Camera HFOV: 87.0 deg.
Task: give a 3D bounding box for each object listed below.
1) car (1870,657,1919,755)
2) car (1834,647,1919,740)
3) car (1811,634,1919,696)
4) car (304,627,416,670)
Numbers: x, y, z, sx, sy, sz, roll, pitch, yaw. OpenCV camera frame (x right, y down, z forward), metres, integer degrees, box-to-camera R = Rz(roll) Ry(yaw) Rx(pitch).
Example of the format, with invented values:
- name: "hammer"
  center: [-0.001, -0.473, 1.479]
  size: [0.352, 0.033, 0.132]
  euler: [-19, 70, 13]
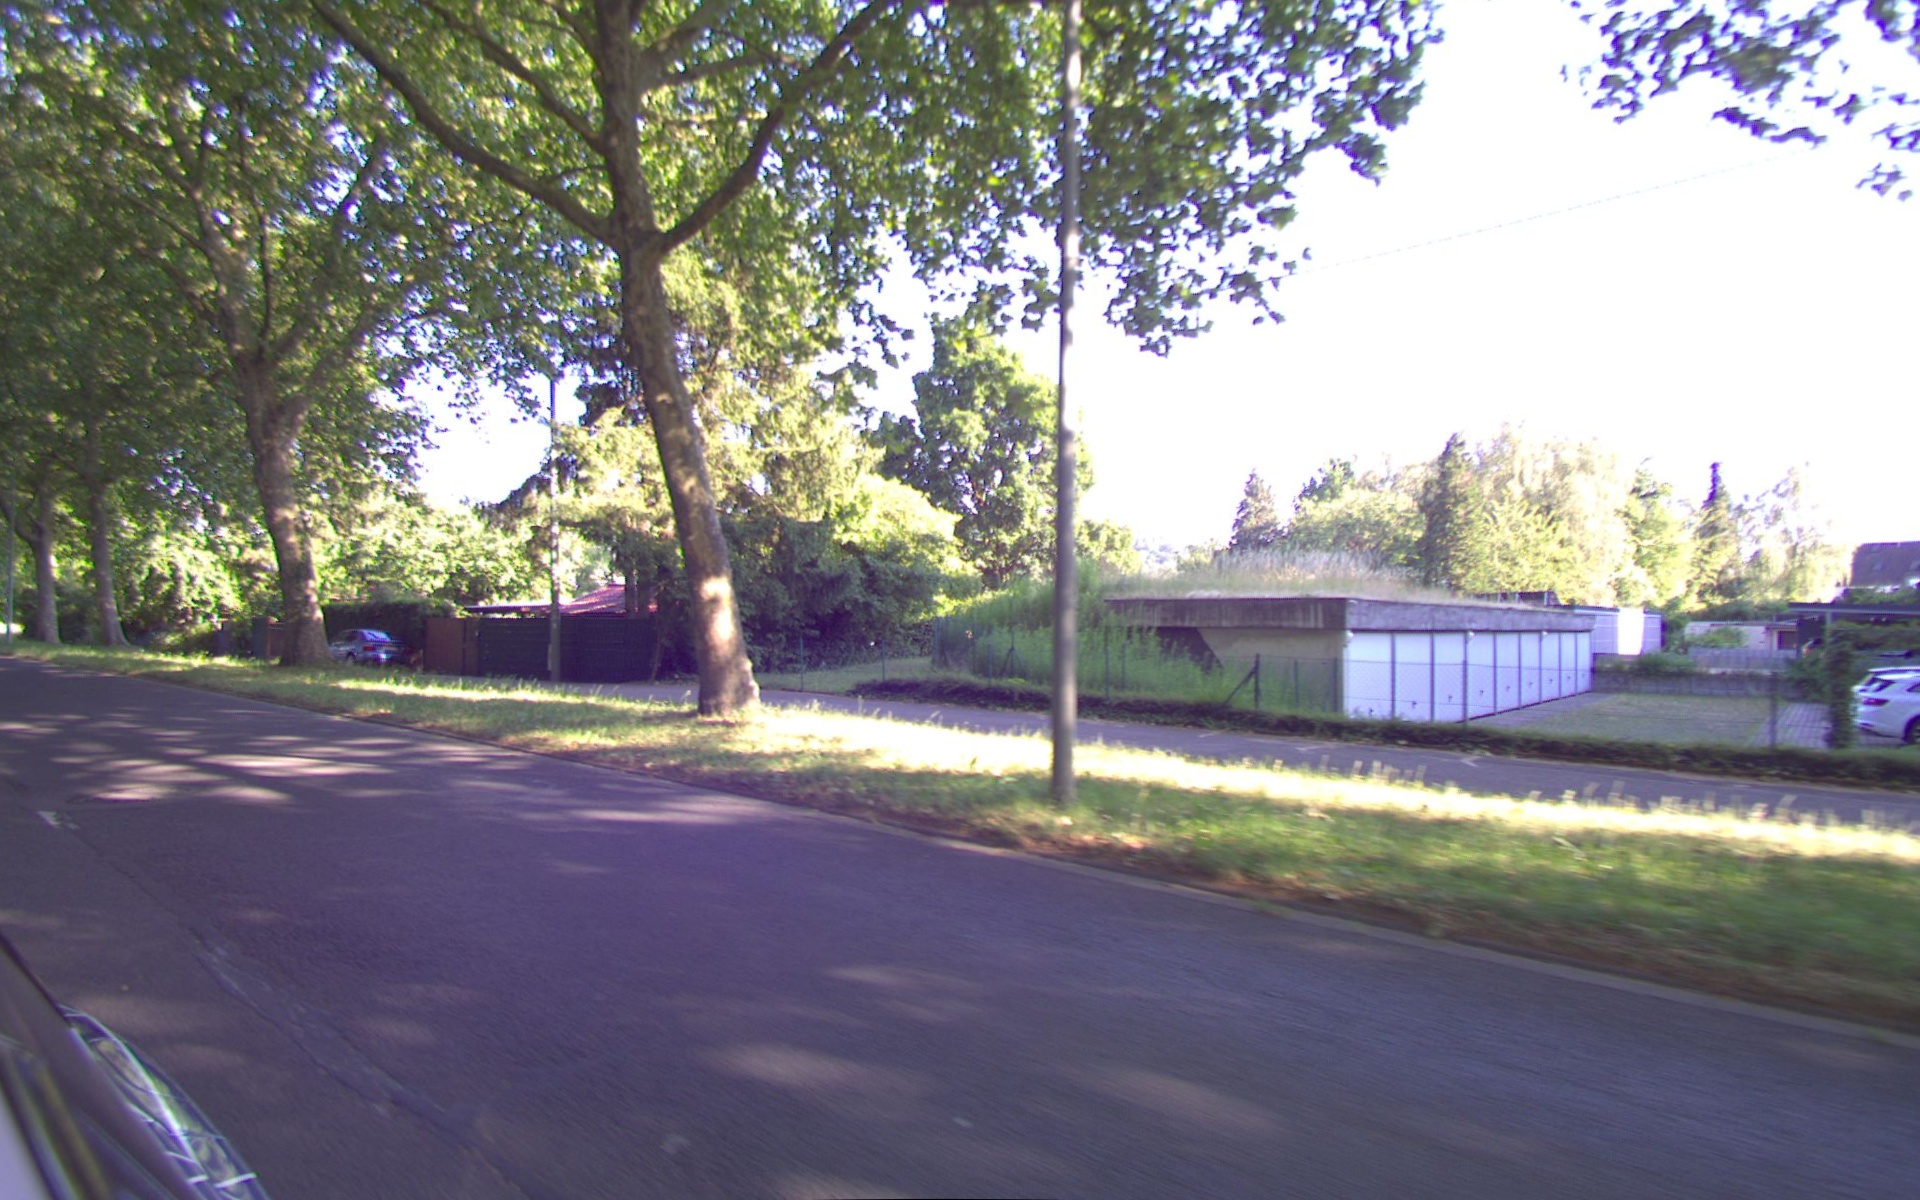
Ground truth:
- name: "car"
  center: [19.679, 1.995, 18.743]
  size: [3.993, 1.727, 1.975]
  euler: [-1, -1, 37]
- name: "car"
  center: [21.149, 1.984, 21.386]
  size: [3.997, 1.860, 1.830]
  euler: [-2, -1, 41]
- name: "car"
  center: [32.310, 2.242, 35.295]
  size: [3.998, 2.029, 1.973]
  euler: [-1, -2, 41]
- name: "car"
  center: [-19.788, 1.587, 33.340]
  size: [3.991, 1.314, 1.736]
  euler: [-2, -3, 36]
